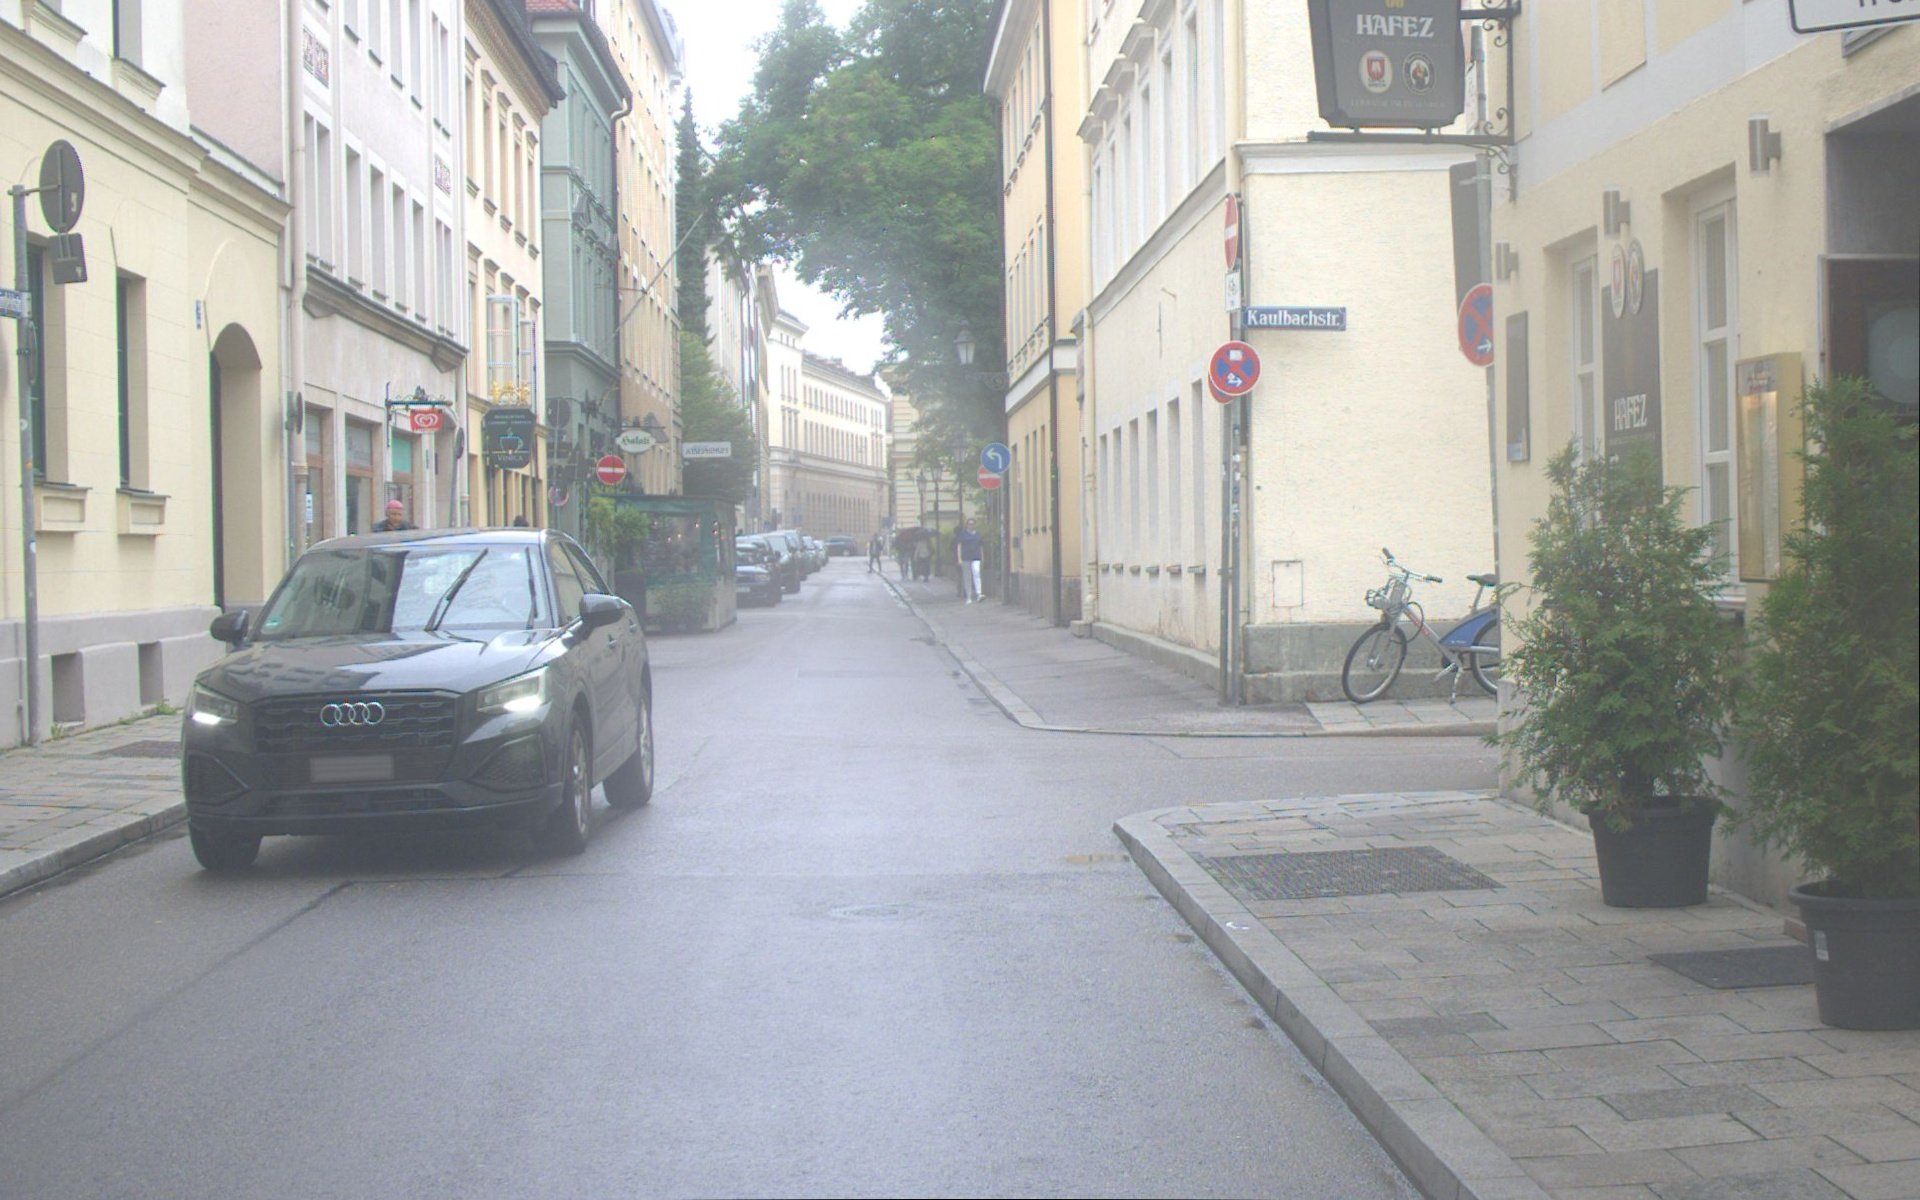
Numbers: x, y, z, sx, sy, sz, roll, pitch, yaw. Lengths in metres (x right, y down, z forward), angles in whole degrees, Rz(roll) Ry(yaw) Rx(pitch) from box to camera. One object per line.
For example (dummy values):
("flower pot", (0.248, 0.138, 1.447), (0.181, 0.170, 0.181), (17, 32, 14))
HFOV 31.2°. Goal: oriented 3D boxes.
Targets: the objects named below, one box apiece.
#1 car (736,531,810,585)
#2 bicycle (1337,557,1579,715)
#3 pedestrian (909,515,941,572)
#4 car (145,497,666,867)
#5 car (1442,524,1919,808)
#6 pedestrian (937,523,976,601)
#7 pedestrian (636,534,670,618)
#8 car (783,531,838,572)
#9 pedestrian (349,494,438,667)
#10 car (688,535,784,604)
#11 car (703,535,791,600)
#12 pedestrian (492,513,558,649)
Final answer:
("car", (-5.185, -1.185, 95.657), (1.779, 1.461, 3.542), (1, 1, 1))
("bicycle", (3.805, 0.273, 26.329), (1.757, 1.140, 0.586), (-1, 4, -1))
("pedestrian", (-1.115, -1.790, 109.188), (1.015, 1.796, 1.349), (1, 1, -1))
("car", (-2.561, 0.313, 16.809), (1.812, 1.588, 4.000), (0, 1, 1))
("car", (4.830, 0.339, 19.209), (4.015, 1.436, 1.765), (0, 3, 0))
("pedestrian", (-0.082, -0.889, 80.025), (0.880, 1.796, 1.046), (1, 1, -1))
("pedestrian", (-4.865, -0.387, 54.512), (0.509, 1.322, 0.631), (1, 1, -3))
("car", (-5.449, -1.784, 125.384), (1.779, 1.461, 3.542), (1, 1, 1))
("pedestrian", (-5.844, -0.211, 35.482), (0.809, 1.749, 0.990), (0, 2, -4))
("car", (-4.904, -0.692, 75.709), (1.779, 1.461, 3.663), (1, 1, 1))
("car", (-4.974, -0.775, 80.704), (1.779, 1.461, 3.542), (1, 1, 1))
("pedestrian", (-5.532, -0.247, 43.774), (0.765, 1.702, 0.785), (-1, 1, -4))
